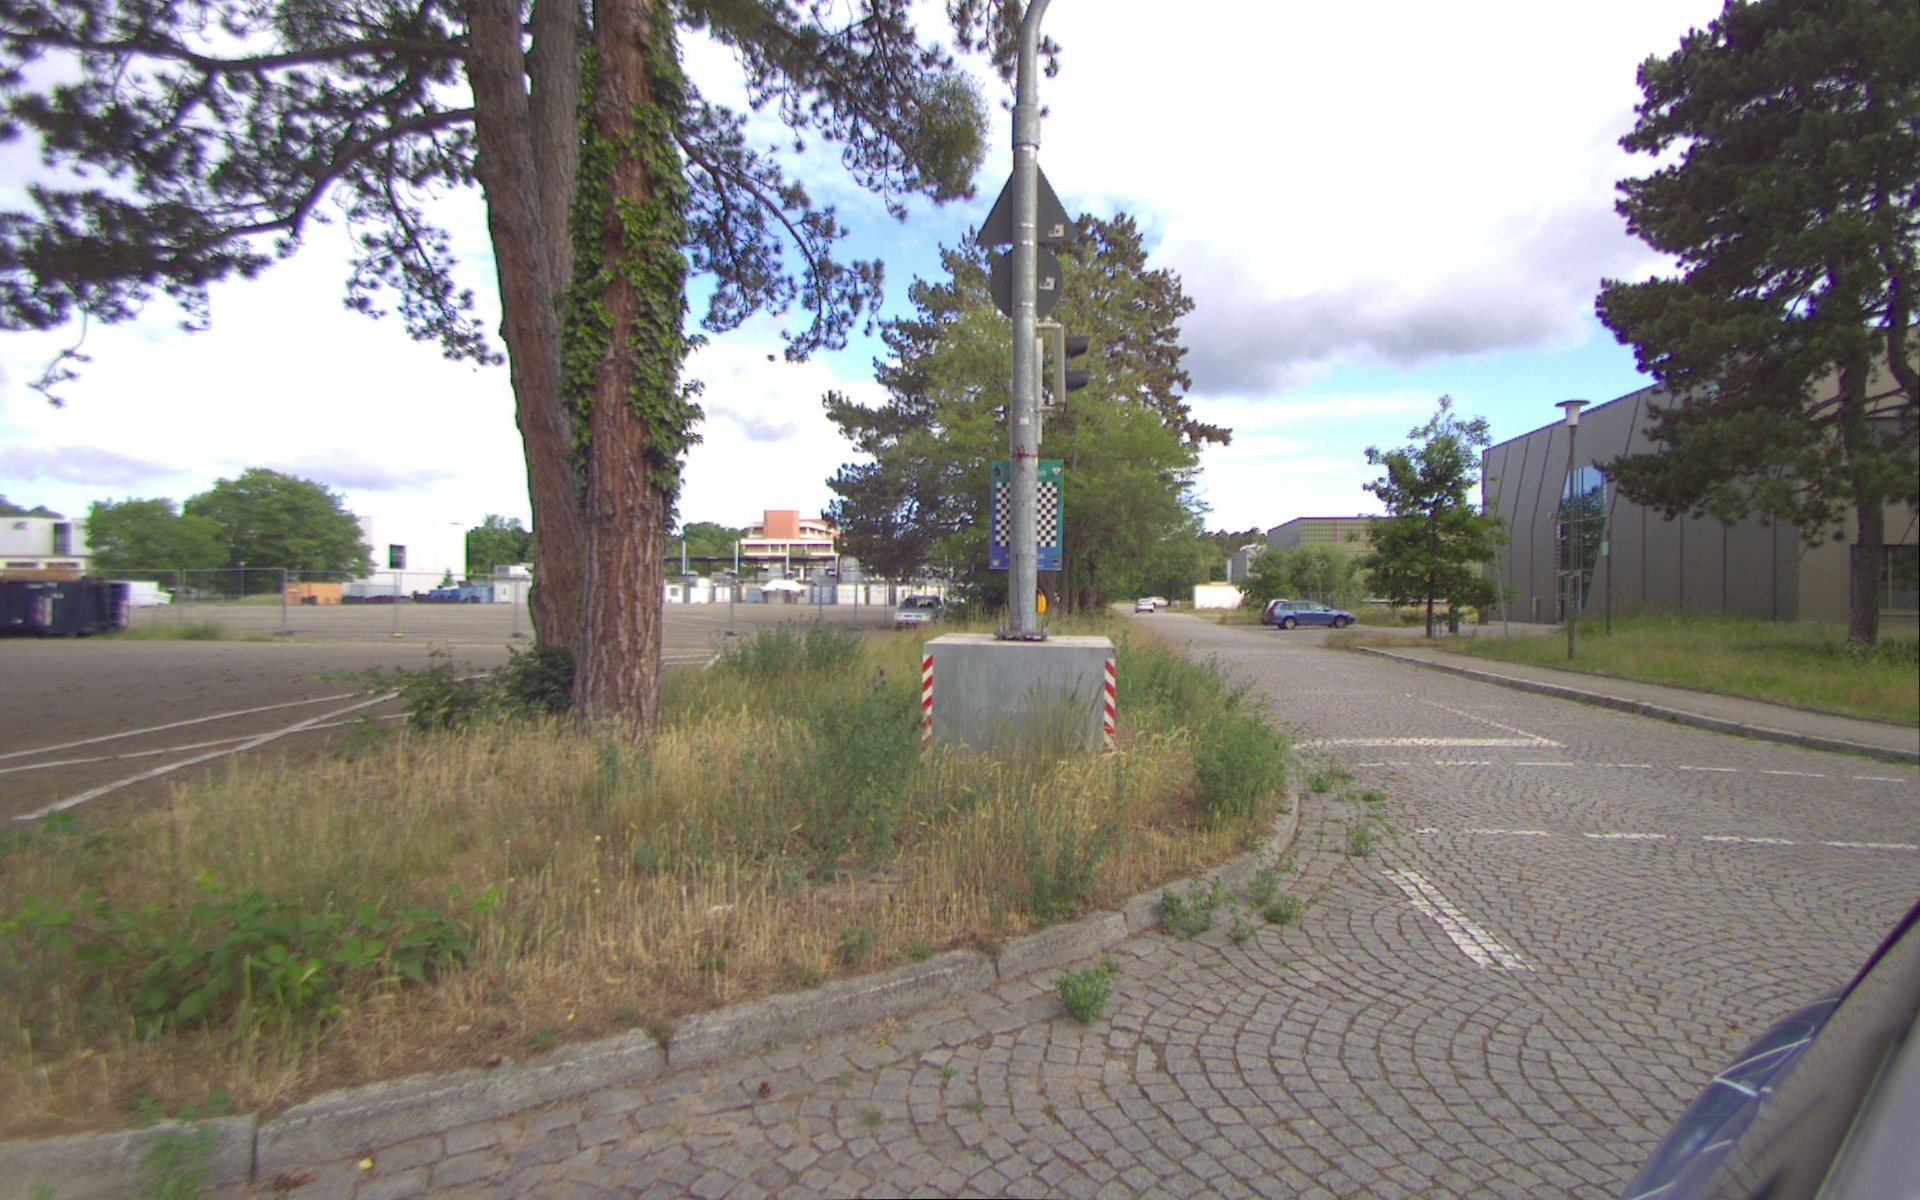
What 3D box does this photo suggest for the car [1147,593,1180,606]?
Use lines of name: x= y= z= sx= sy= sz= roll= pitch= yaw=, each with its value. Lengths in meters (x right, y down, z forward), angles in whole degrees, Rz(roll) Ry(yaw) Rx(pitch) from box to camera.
car: x=29.233 y=-0.035 z=145.482 sx=4.401 sy=1.854 sz=1.996 roll=0 pitch=0 yaw=8

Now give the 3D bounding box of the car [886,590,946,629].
car: x=-1.745 y=0.342 z=41.543 sx=1.938 sy=1.501 sz=3.994 roll=0 pitch=0 yaw=5

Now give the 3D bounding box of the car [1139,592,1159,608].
car: x=19.708 y=-0.014 z=105.592 sx=1.855 sy=1.544 sz=3.990 roll=0 pitch=0 yaw=9

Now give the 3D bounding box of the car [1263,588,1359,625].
car: x=18.375 y=0.306 z=53.118 sx=4.401 sy=1.854 sz=1.996 roll=0 pitch=0 yaw=8
